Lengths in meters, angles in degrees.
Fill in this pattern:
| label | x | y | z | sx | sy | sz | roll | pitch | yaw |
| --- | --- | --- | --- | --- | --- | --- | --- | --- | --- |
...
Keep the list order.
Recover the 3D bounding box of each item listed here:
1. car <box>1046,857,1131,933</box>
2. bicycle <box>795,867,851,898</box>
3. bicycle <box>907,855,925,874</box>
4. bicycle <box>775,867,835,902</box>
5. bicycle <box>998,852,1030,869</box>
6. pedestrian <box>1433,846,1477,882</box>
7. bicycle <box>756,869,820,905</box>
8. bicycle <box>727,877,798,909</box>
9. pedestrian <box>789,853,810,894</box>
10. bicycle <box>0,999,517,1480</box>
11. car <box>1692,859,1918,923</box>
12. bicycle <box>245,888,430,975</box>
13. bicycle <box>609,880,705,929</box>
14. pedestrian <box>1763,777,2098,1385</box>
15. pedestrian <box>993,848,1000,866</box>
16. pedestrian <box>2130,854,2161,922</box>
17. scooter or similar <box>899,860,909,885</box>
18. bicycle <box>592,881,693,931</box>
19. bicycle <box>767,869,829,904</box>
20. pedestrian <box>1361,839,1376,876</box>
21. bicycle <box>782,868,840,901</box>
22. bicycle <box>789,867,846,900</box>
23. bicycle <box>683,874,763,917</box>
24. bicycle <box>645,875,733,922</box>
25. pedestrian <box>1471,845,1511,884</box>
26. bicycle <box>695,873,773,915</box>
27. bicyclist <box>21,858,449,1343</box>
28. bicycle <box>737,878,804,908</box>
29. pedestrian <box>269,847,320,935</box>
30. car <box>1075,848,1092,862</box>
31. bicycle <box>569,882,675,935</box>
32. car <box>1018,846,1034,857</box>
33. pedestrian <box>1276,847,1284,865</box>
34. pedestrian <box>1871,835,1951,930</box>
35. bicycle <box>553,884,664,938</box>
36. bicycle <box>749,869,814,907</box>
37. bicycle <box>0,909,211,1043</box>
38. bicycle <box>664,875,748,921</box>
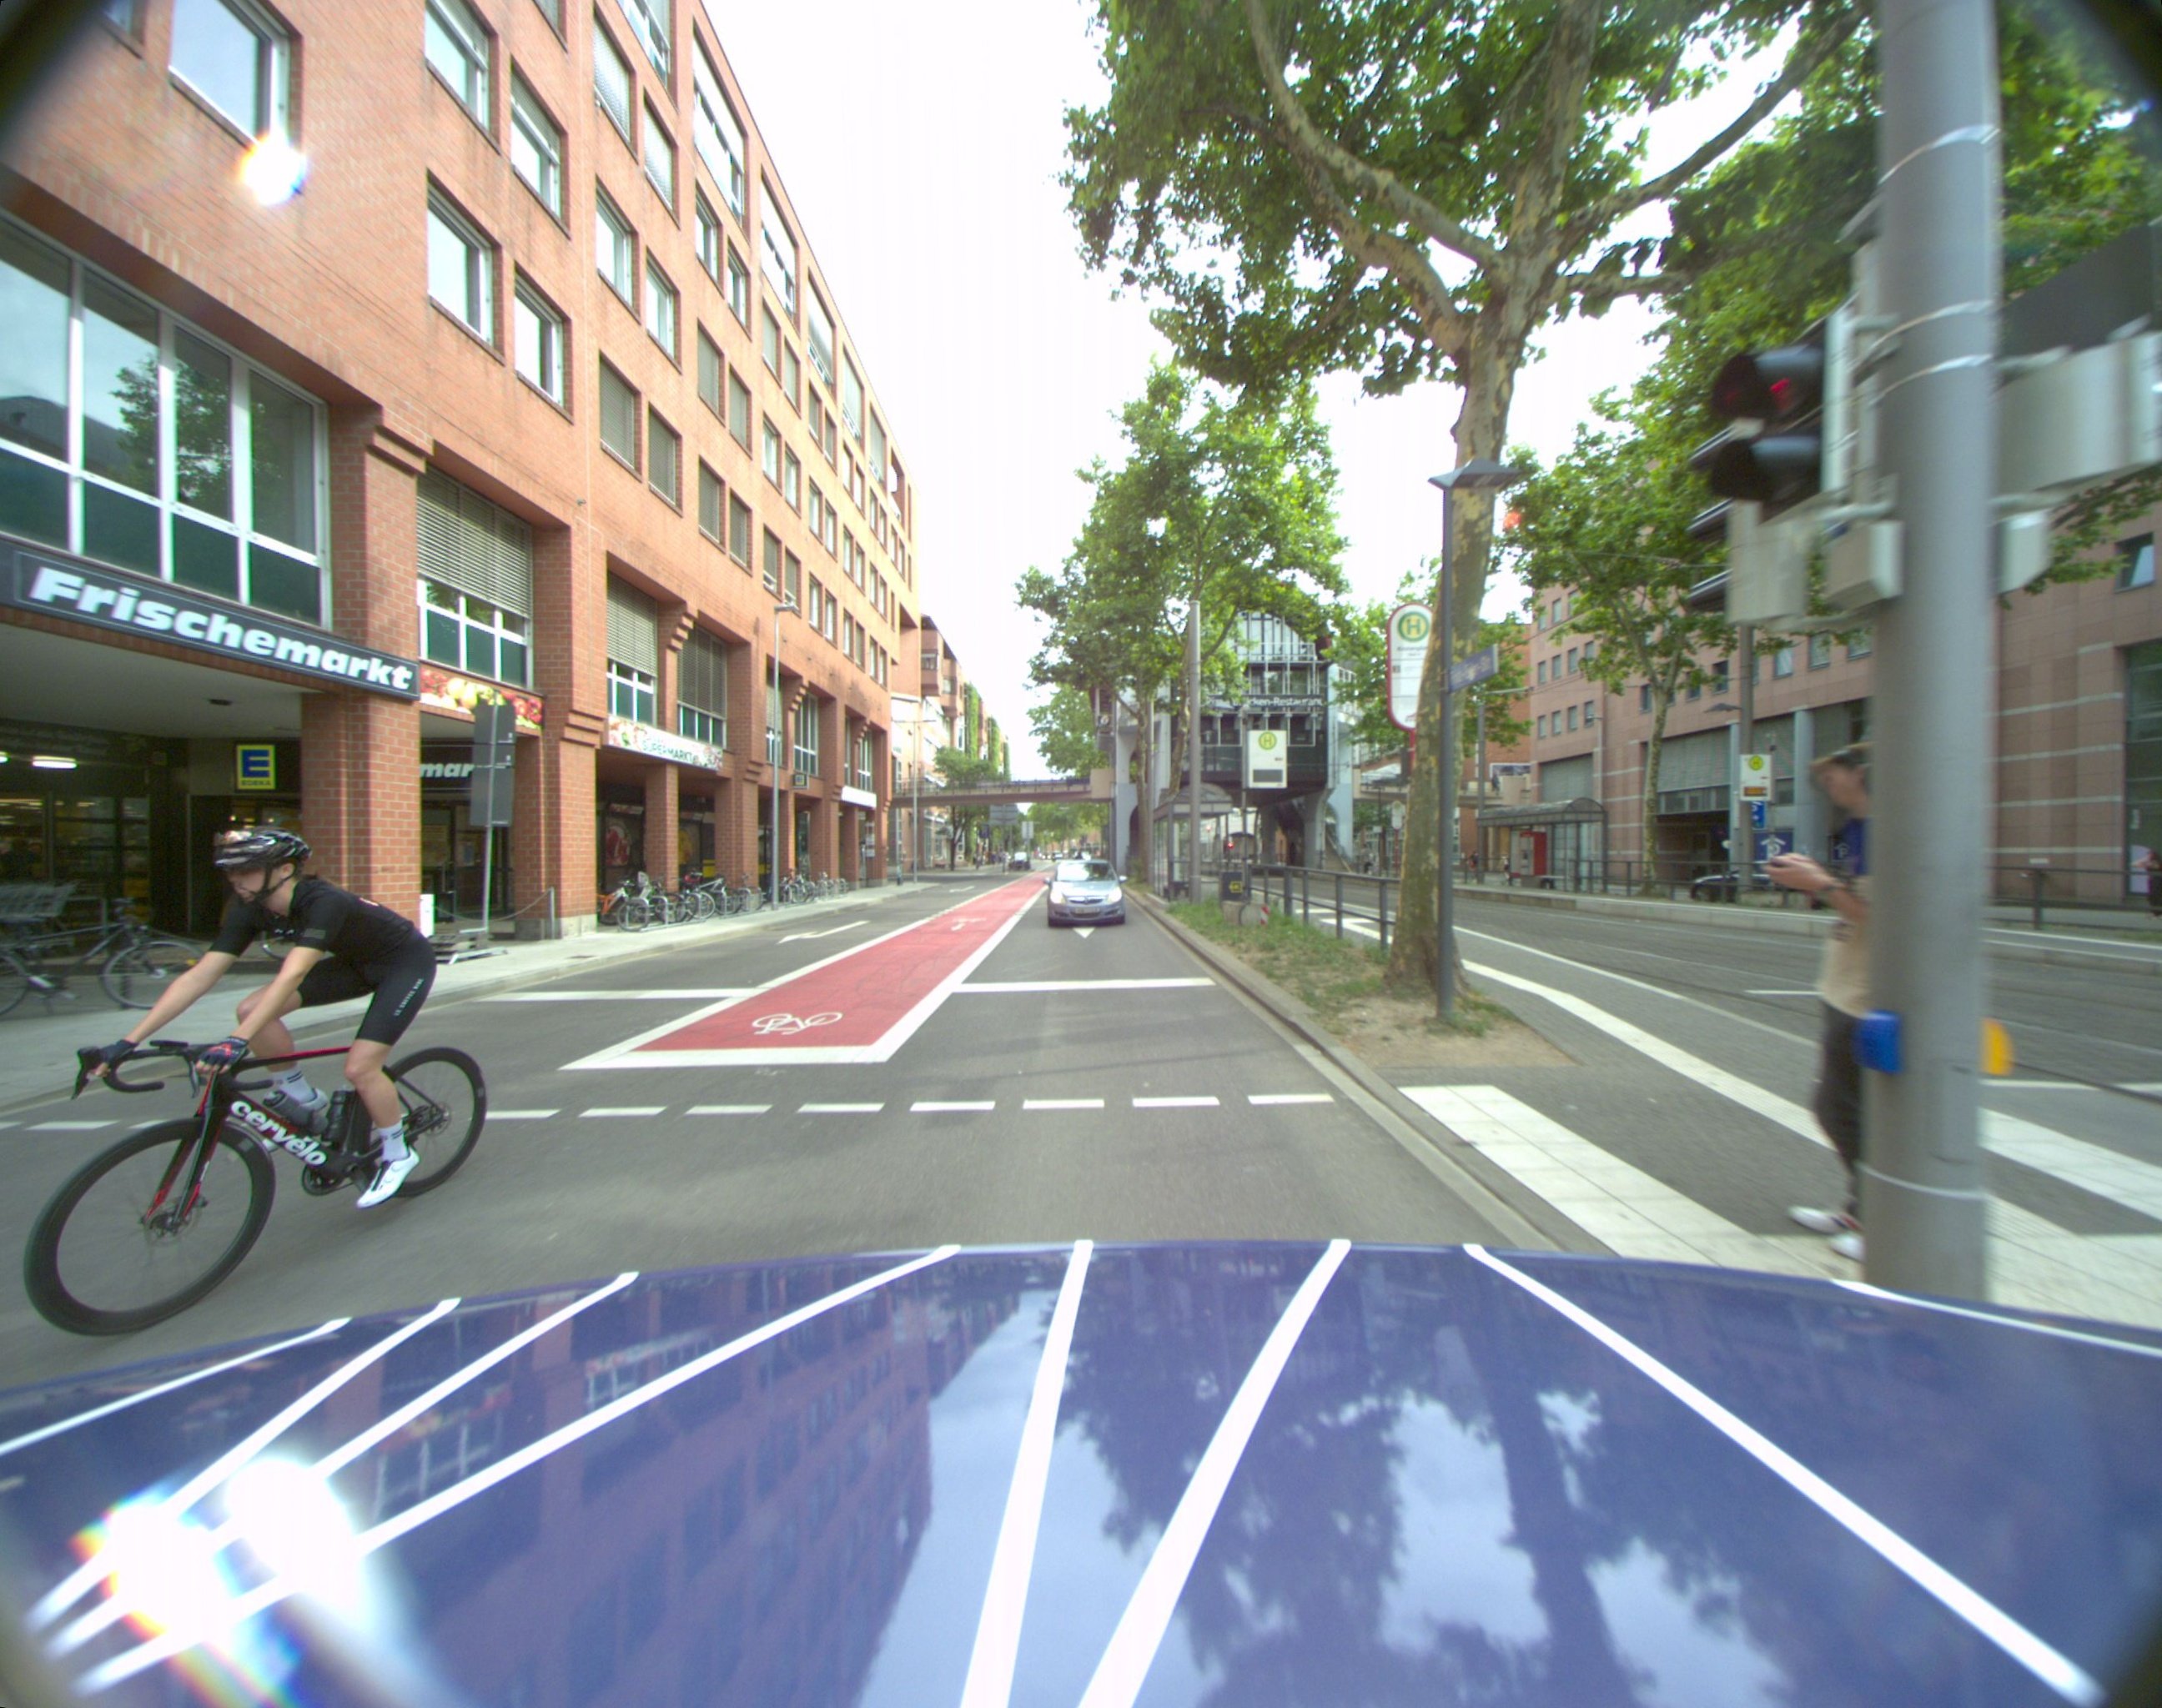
| label | x | y | z | sx | sy | sz | roll | pitch | yaw |
| --- | --- | --- | --- | --- | --- | --- | --- | --- | --- |
| car | 0.087 | 0.858 | 17.809 | 1.723 | 1.395 | 3.998 | -2 | 2 | -2 |
| bicycle | -9.508 | 1.043 | 28.024 | 1.859 | 1.134 | 0.534 | 0 | 1 | 1 |
| bicycle | -12.745 | 0.797 | 58.681 | 0.746 | 1.382 | 2.979 | 0 | 0 | 0 |
| bicycle | -9.404 | 1.031 | 25.940 | 1.859 | 1.134 | 0.534 | 0 | 1 | 1 |
| bicycle | -5.709 | 0.563 | 64.659 | 2.584 | 1.430 | 0.769 | 0 | 1 | 2 |
| pedestrian | 22.441 | 0.574 | 45.601 | 1.695 | 2.002 | 2.034 | -2 | 1 | 5 |
| bicycle | -9.481 | 1.059 | 24.631 | 1.859 | 1.134 | 0.534 | 0 | 1 | 1 |
| bicycle | -9.458 | 1.154 | 22.587 | 1.859 | 0.888 | 0.534 | 0 | 1 | 1 |
| pedestrian | -12.253 | 0.838 | 33.104 | 0.614 | 1.767 | 0.780 | 0 | 1 | 1 |
| bicycle | -3.164 | 1.254 | 2.997 | 0.488 | 0.995 | 1.748 | -2 | 1 | 2 |
| car | 18.902 | 0.885 | 20.172 | 1.868 | 1.464 | 4.295 | 0 | 0 | -1 |
| bicycle | -10.669 | 1.071 | 10.970 | 0.483 | 1.078 | 1.868 | 3 | 1 | 40 |
| bicycle | -9.499 | 1.122 | 17.048 | 1.859 | 1.034 | 0.534 | 0 | 1 | 1 |
| pedestrian | 2.799 | 0.666 | 2.578 | 0.534 | 1.781 | 0.578 | 0 | 1 | 20 |
| pedestrian | -7.737 | 0.301 | 69.438 | 0.516 | 1.645 | 0.612 | 0 | 1 | 1 |
| pedestrian | 25.070 | 0.783 | 17.651 | 0.529 | 1.564 | 0.601 | 0 | 1 | 0 |
| scooter or similar | -8.926 | 0.931 | 38.313 | 0.272 | 1.250 | 0.921 | 0 | 1 | 1 |
| bicycle | -9.430 | 1.114 | 16.364 | 1.859 | 1.034 | 0.534 | 0 | 1 | 1 |
| bicycle | -9.415 | 1.077 | 25.323 | 1.859 | 1.134 | 0.534 | 0 | 1 | 1 |
| pedestrian | 13.709 | 0.154 | 36.200 | 0.482 | 1.761 | 0.481 | 0 | 1 | -7 |
| bicycle | -9.454 | 1.060 | 26.647 | 1.859 | 1.134 | 0.534 | 0 | 1 | 1 |
| bicycle | -9.437 | 1.052 | 27.282 | 1.859 | 1.134 | 0.534 | 0 | 1 | 1 |
| bicycle | -9.403 | 1.083 | 19.975 | 1.859 | 1.105 | 0.534 | 0 | 1 | 1 |
| bicycle | -9.472 | 1.070 | 18.375 | 1.859 | 1.105 | 0.534 | 0 | 1 | 1 |
| pedestrian | 22.423 | 0.558 | 41.576 | 1.429 | 2.002 | 1.361 | -2 | 1 | 5 |
| bicycle | -9.417 | 1.075 | 20.650 | 1.859 | 1.105 | 0.534 | 0 | 1 | 1 |
| bicyclist | -3.165 | 0.831 | 2.952 | 0.613 | 1.594 | 0.847 | -2 | 1 | 2 |
| bicycle | -9.537 | 1.199 | 23.381 | 1.859 | 0.865 | 0.534 | 0 | 1 | 1 |
| pedestrian | -14.718 | 0.680 | 14.228 | 0.385 | 1.630 | 0.532 | 0 | 1 | 0 |
| car | 0.298 | 0.101 | 86.247 | 1.957 | 1.592 | 4.000 | 0 | 1 | 1 |
| bicycle | -9.445 | 1.115 | 15.656 | 1.859 | 1.034 | 0.534 | 0 | 1 | 1 |
| car | -7.609 | -0.374 | 105.373 | 1.957 | 1.592 | 4.000 | 0 | 1 | 1 |
| pedestrian | 22.698 | 0.233 | 86.608 | 0.716 | 2.002 | 0.774 | -2 | 1 | 0 |
| pedestrian | 13.780 | 0.459 | 12.627 | 0.658 | 1.529 | 0.558 | 0 | 3 | -4 |
| bicycle | -9.331 | 1.121 | 15.031 | 1.859 | 1.034 | 0.507 | 0 | 1 | 1 |
| bicycle | -9.459 | 1.067 | 24.009 | 1.859 | 1.134 | 0.534 | 0 | 1 | 1 |
| bicycle | -9.595 | 1.126 | 7.127 | 0.628 | 1.078 | 1.868 | 3 | 1 | 40 |
| bicycle | -9.426 | 1.096 | 19.129 | 1.859 | 1.105 | 0.534 | 0 | 1 | 1 |
